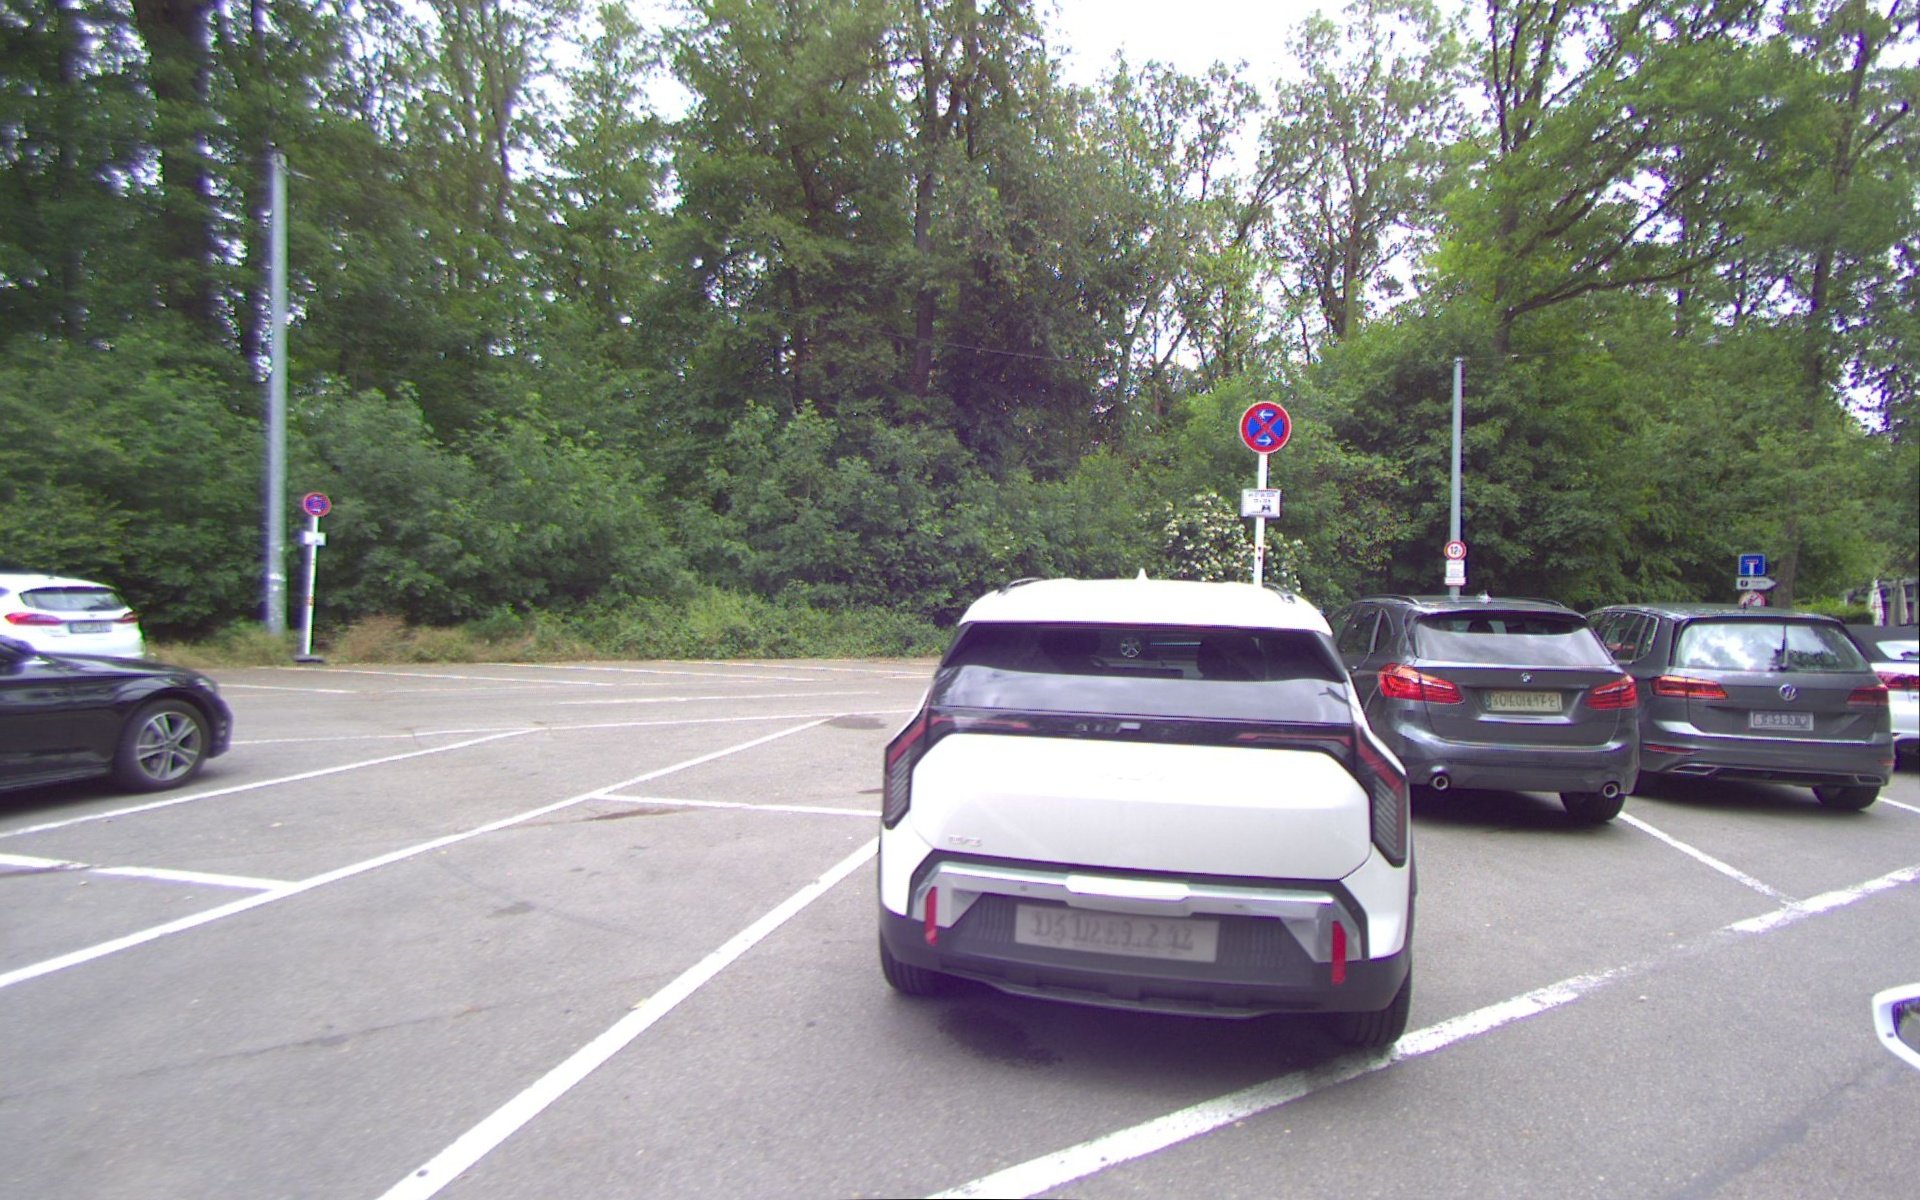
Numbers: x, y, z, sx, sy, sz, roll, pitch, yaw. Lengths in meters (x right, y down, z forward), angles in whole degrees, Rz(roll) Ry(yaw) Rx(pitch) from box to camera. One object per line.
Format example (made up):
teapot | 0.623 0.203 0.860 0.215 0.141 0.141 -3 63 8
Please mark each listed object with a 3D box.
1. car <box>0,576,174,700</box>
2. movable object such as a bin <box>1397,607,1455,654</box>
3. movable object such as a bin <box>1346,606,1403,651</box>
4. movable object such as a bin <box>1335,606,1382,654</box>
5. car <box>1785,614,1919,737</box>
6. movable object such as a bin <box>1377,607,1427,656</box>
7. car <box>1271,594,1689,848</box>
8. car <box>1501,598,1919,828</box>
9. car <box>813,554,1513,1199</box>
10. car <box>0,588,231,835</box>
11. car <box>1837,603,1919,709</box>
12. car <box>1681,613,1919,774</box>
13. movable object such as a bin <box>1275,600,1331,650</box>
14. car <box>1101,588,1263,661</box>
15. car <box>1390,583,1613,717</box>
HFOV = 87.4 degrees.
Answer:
car | -13.240 0.433 13.791 3.919 1.531 1.870 1 0 15
movable object such as a bin | 14.120 0.904 30.425 1.138 1.342 1.241 1 0 -43
movable object such as a bin | 12.717 0.873 30.837 1.228 1.338 1.116 1 0 -35
movable object such as a bin | 11.593 0.853 29.209 1.107 1.332 1.182 1 0 29
car | 12.729 0.959 12.724 1.724 1.463 4.281 1 0 12
movable object such as a bin | 12.591 0.867 28.581 1.151 1.325 1.311 1 0 29
car | 3.935 0.759 8.446 1.835 1.575 4.002 1 0 7
car | 6.574 0.802 9.266 1.810 1.608 3.979 1 1 14
car | 0.896 0.689 4.743 1.809 1.618 4.192 1 0 12
car | -6.762 0.660 5.555 1.831 1.461 4.319 1 0 11
car | 15.809 0.898 15.281 1.792 1.630 4.390 1 0 13
car | 9.944 0.919 11.235 1.737 1.463 3.847 1 0 14
movable object such as a bin | 10.291 0.743 30.191 1.116 1.444 1.119 1 0 -28
car | 5.841 0.605 26.396 3.989 1.707 1.881 1 1 16
car | 7.900 0.641 15.107 1.860 1.685 4.002 1 0 12
